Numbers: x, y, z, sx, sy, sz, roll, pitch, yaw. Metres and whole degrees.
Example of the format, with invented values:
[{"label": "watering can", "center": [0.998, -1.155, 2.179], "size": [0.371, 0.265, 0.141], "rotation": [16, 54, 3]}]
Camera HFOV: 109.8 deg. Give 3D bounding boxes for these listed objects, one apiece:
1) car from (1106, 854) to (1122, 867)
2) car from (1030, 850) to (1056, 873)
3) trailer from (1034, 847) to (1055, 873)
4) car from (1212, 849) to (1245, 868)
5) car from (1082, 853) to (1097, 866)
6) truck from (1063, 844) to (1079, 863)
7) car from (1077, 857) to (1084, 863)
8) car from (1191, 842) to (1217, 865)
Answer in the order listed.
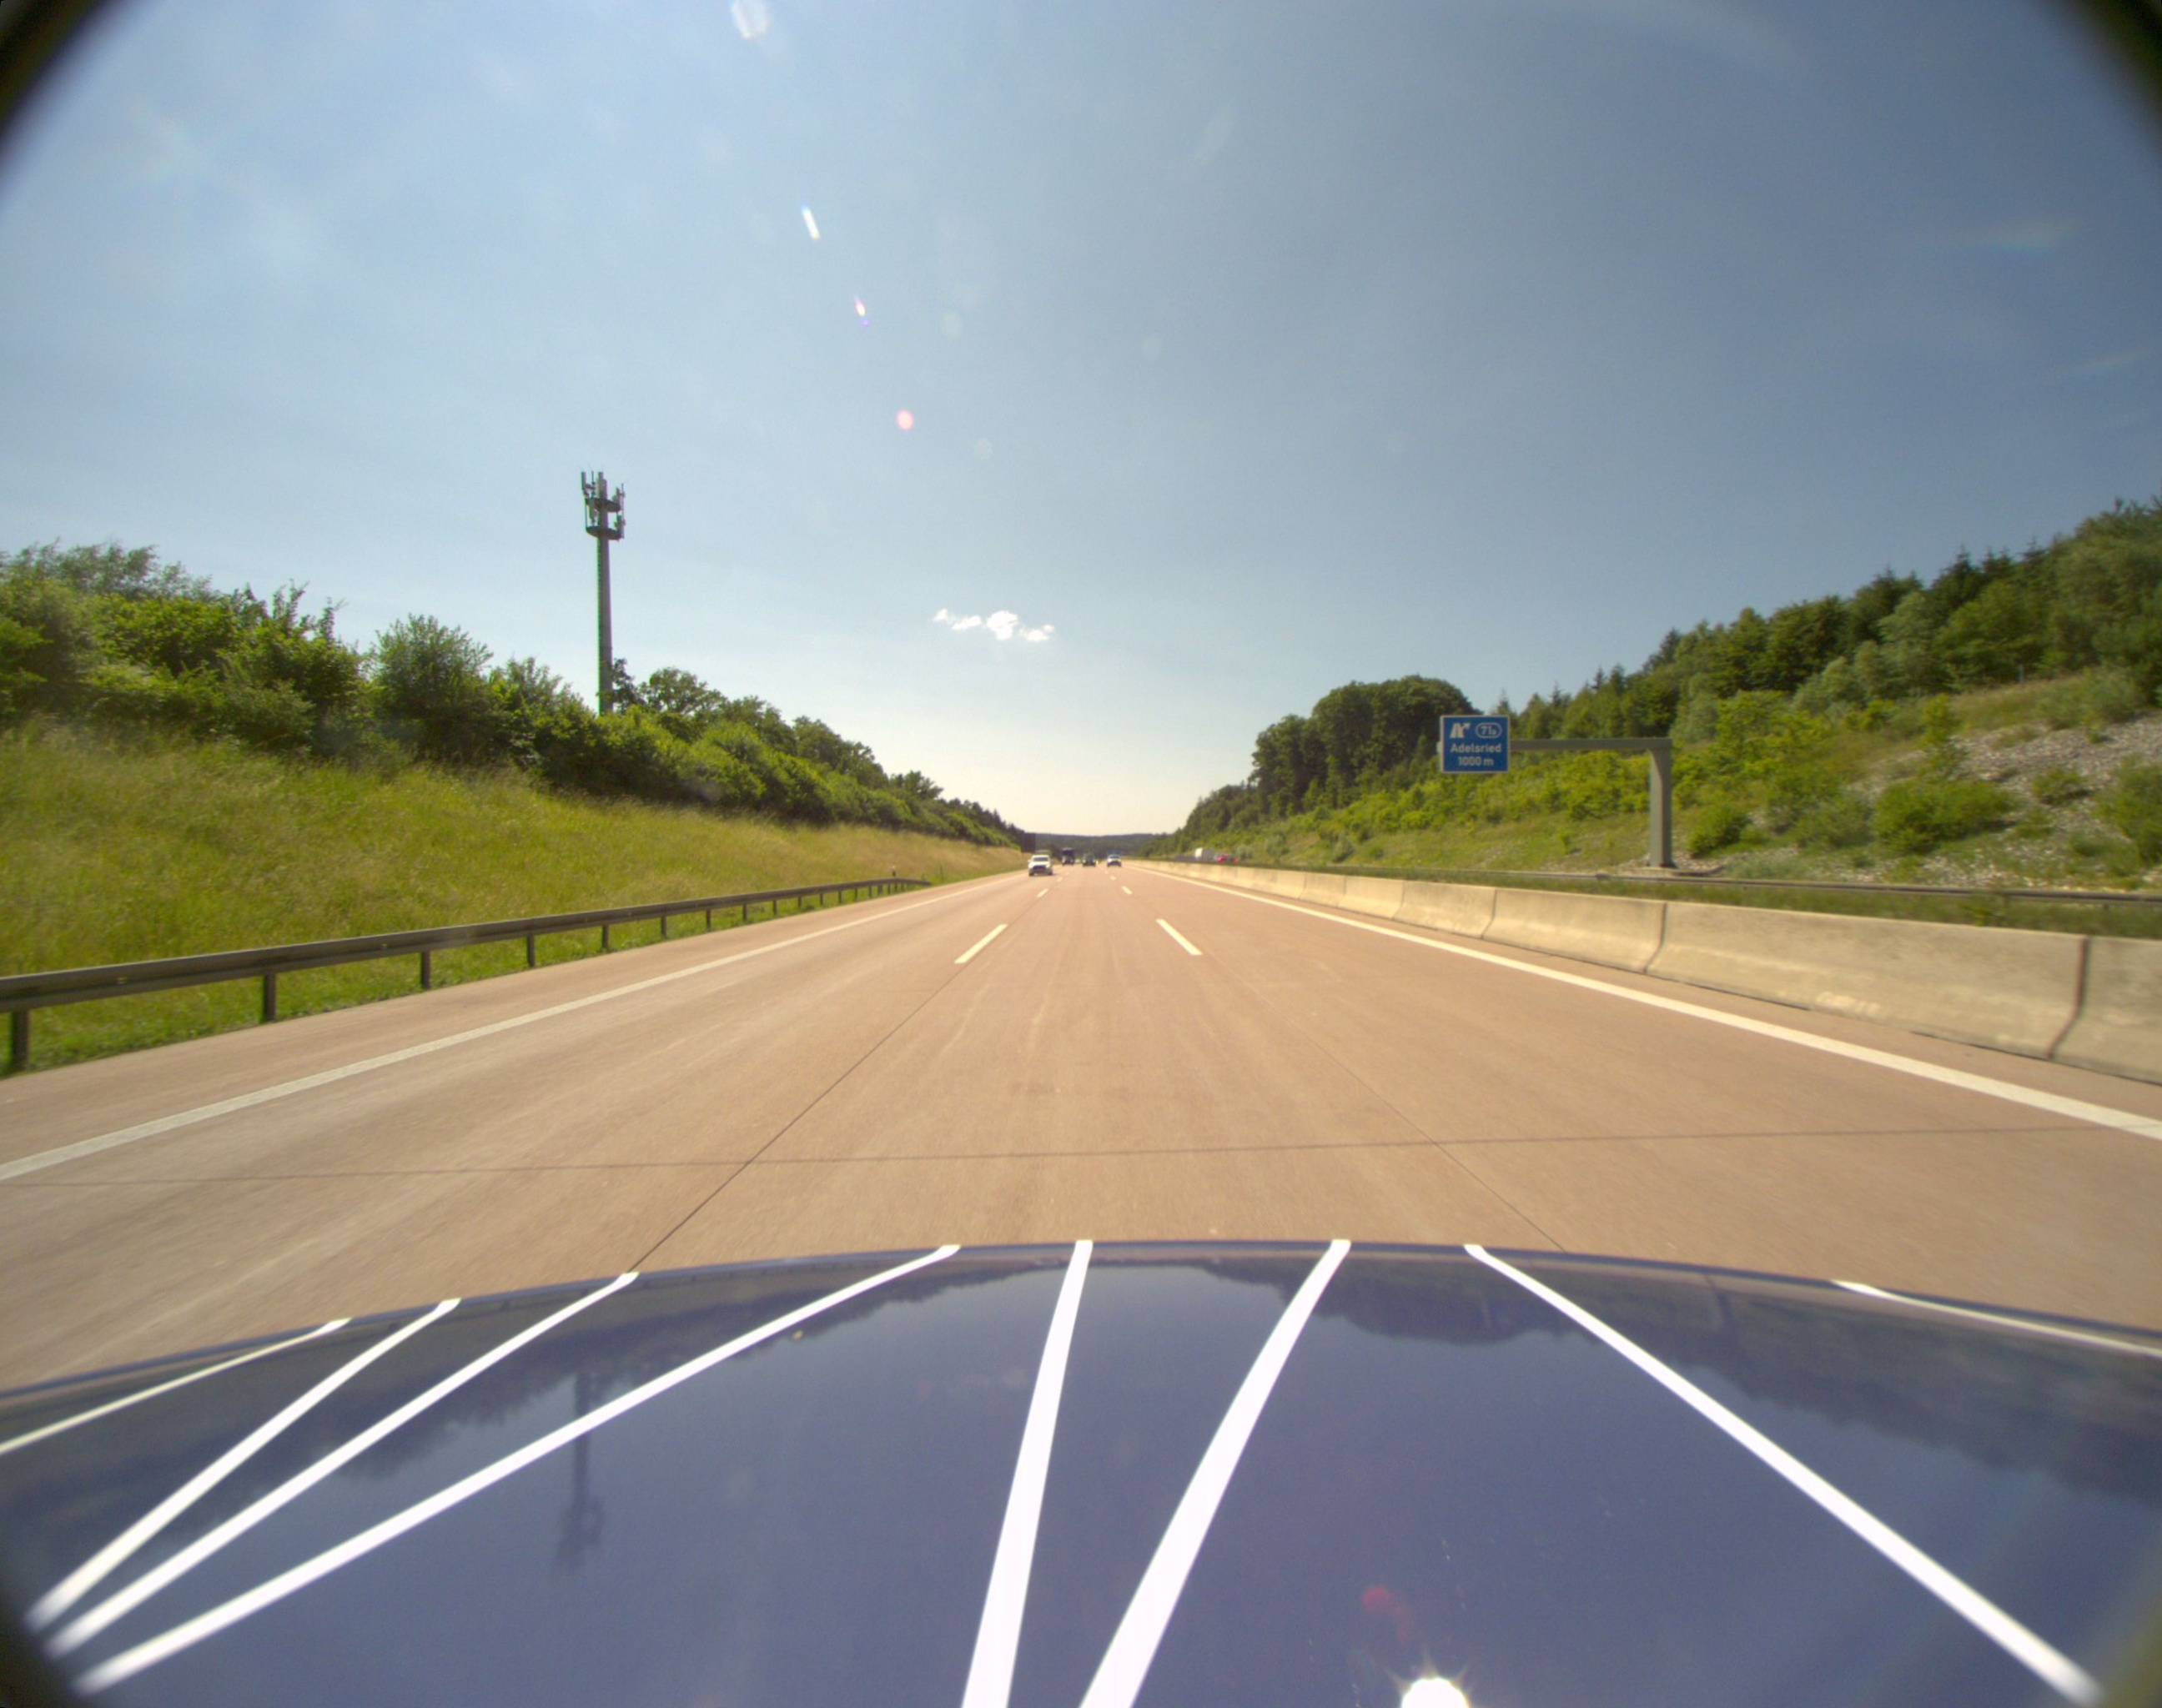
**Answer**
[{"label": "car", "center": [4.469, 0.920, 102.351], "size": [1.895, 1.718, 4.564], "rotation": [-2, -1, 0]}, {"label": "car", "center": [-3.136, 0.618, 63.436], "size": [1.896, 1.718, 5.186], "rotation": [-2, 0, -1]}, {"label": "trailer", "center": [-3.221, 0.543, 67.983], "size": [1.662, 2.151, 4.016], "rotation": [-2, 0, -1]}, {"label": "car", "center": [13.095, 0.440, 67.807], "size": [1.896, 1.584, 4.978], "rotation": [-2, -1, -1]}, {"label": "car", "center": [1.293, 0.829, 111.788], "size": [1.998, 1.805, 4.565], "rotation": [-2, 0, 3]}, {"label": "truck", "center": [-1.780, -0.030, 141.710], "size": [2.508, 3.199, 7.786], "rotation": [-2, -1, 2]}, {"label": "car", "center": [-0.153, 1.937, 260.173], "size": [1.998, 2.001, 4.000], "rotation": [-3, -1, 0]}, {"label": "car", "center": [17.040, -0.055, 105.477], "size": [2.416, 2.952, 7.503], "rotation": [-2, -1, 1]}]
